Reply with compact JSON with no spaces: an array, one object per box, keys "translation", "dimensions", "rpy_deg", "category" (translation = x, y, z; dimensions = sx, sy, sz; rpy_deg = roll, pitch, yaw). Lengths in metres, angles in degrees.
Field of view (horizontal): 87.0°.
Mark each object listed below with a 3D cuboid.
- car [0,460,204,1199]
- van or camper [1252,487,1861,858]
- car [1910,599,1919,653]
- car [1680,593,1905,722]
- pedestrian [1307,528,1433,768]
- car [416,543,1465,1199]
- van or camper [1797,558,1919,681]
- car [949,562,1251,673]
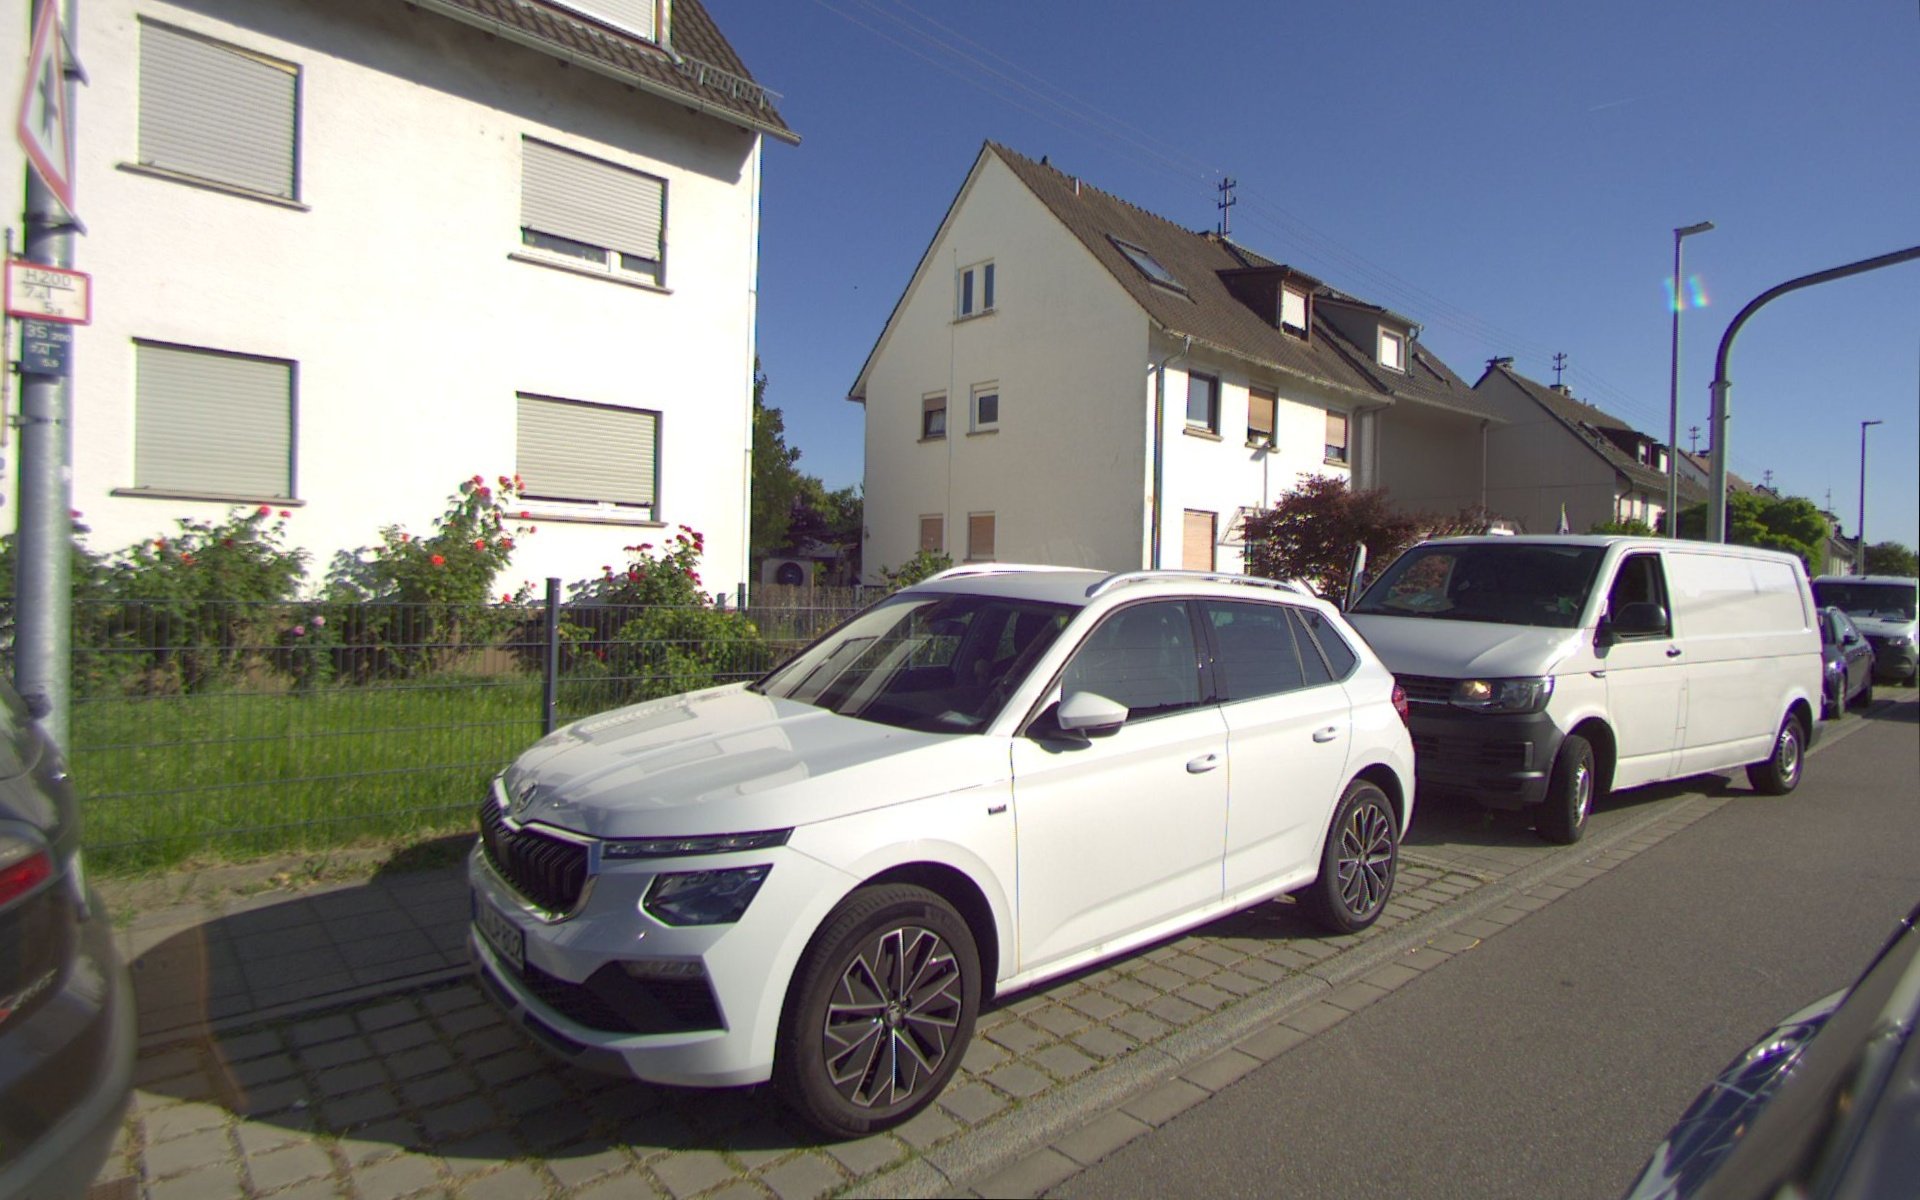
[{"translation":[-3.530,0.555,0.596],"dimensions":[4.778,1.648,1.794],"rpy_deg":[1,3,-43],"category":"car"},{"translation":[4.763,0.386,7.743],"dimensions":[5.194,1.981,2.035],"rpy_deg":[1,1,-35],"category":"van or camper"},{"translation":[31.965,0.870,32.493],"dimensions":[4.244,1.665,1.729],"rpy_deg":[0,3,-42],"category":"car"},{"translation":[12.350,0.708,14.878],"dimensions":[5.066,1.512,1.752],"rpy_deg":[0,3,-42],"category":"car"},{"translation":[3.509,0.386,8.676],"dimensions":[0.744,1.936,0.701],"rpy_deg":[0,0,-33],"category":"pedestrian"},{"translation":[0.265,0.603,4.083],"dimensions":[4.086,1.511,1.660],"rpy_deg":[0,2,-40],"category":"car"},{"translation":[20.082,0.349,21.940],"dimensions":[6.196,2.298,1.997],"rpy_deg":[0,3,-42],"category":"van or camper"},{"translation":[2.100,0.158,16.330],"dimensions":[1.875,1.495,4.718],"rpy_deg":[-1,2,-43],"category":"car"}]
